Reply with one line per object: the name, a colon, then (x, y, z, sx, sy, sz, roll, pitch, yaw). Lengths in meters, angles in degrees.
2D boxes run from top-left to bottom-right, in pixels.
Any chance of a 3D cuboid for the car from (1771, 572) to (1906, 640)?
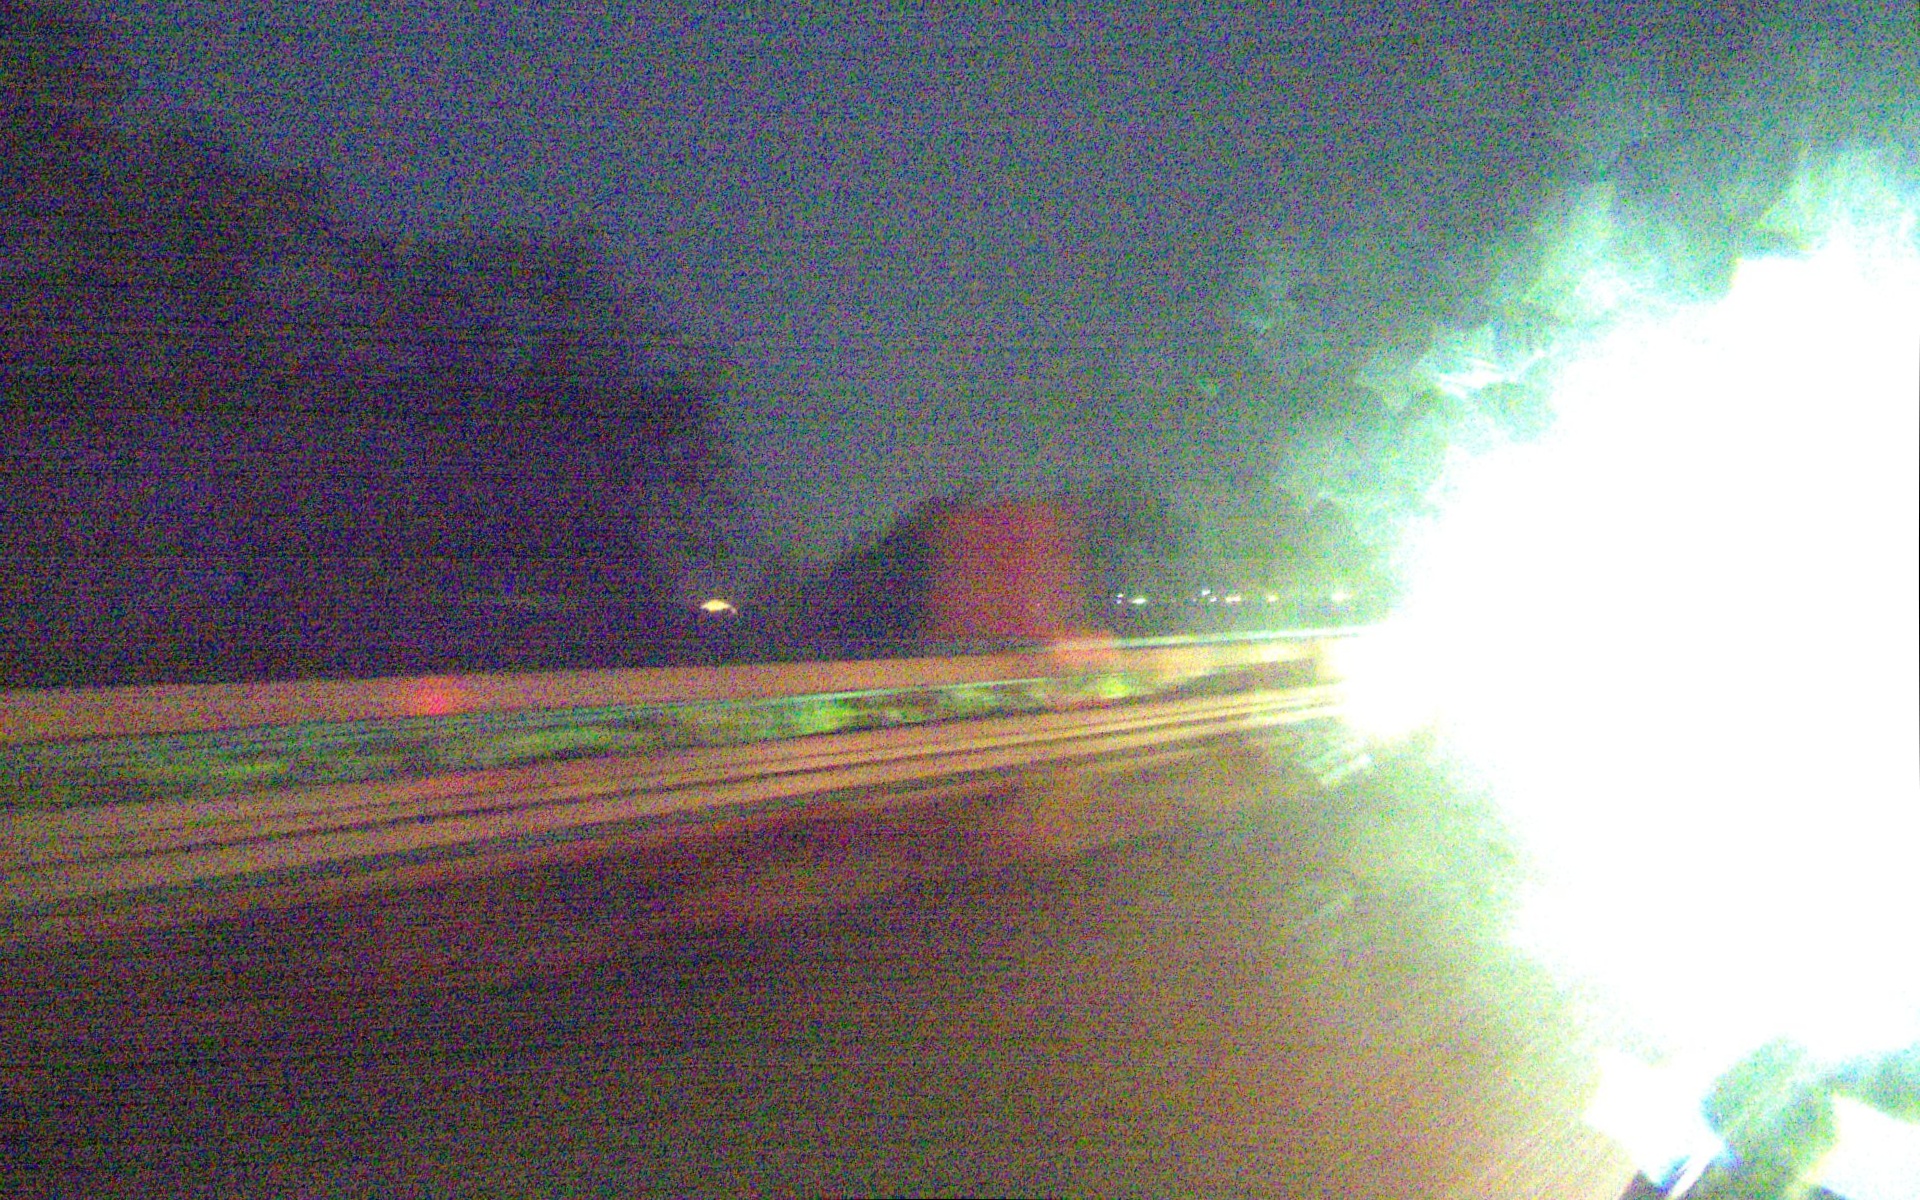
car: (24.759, 0.162, 28.504, 4.041, 1.706, 1.742, -2, -3, -33)
